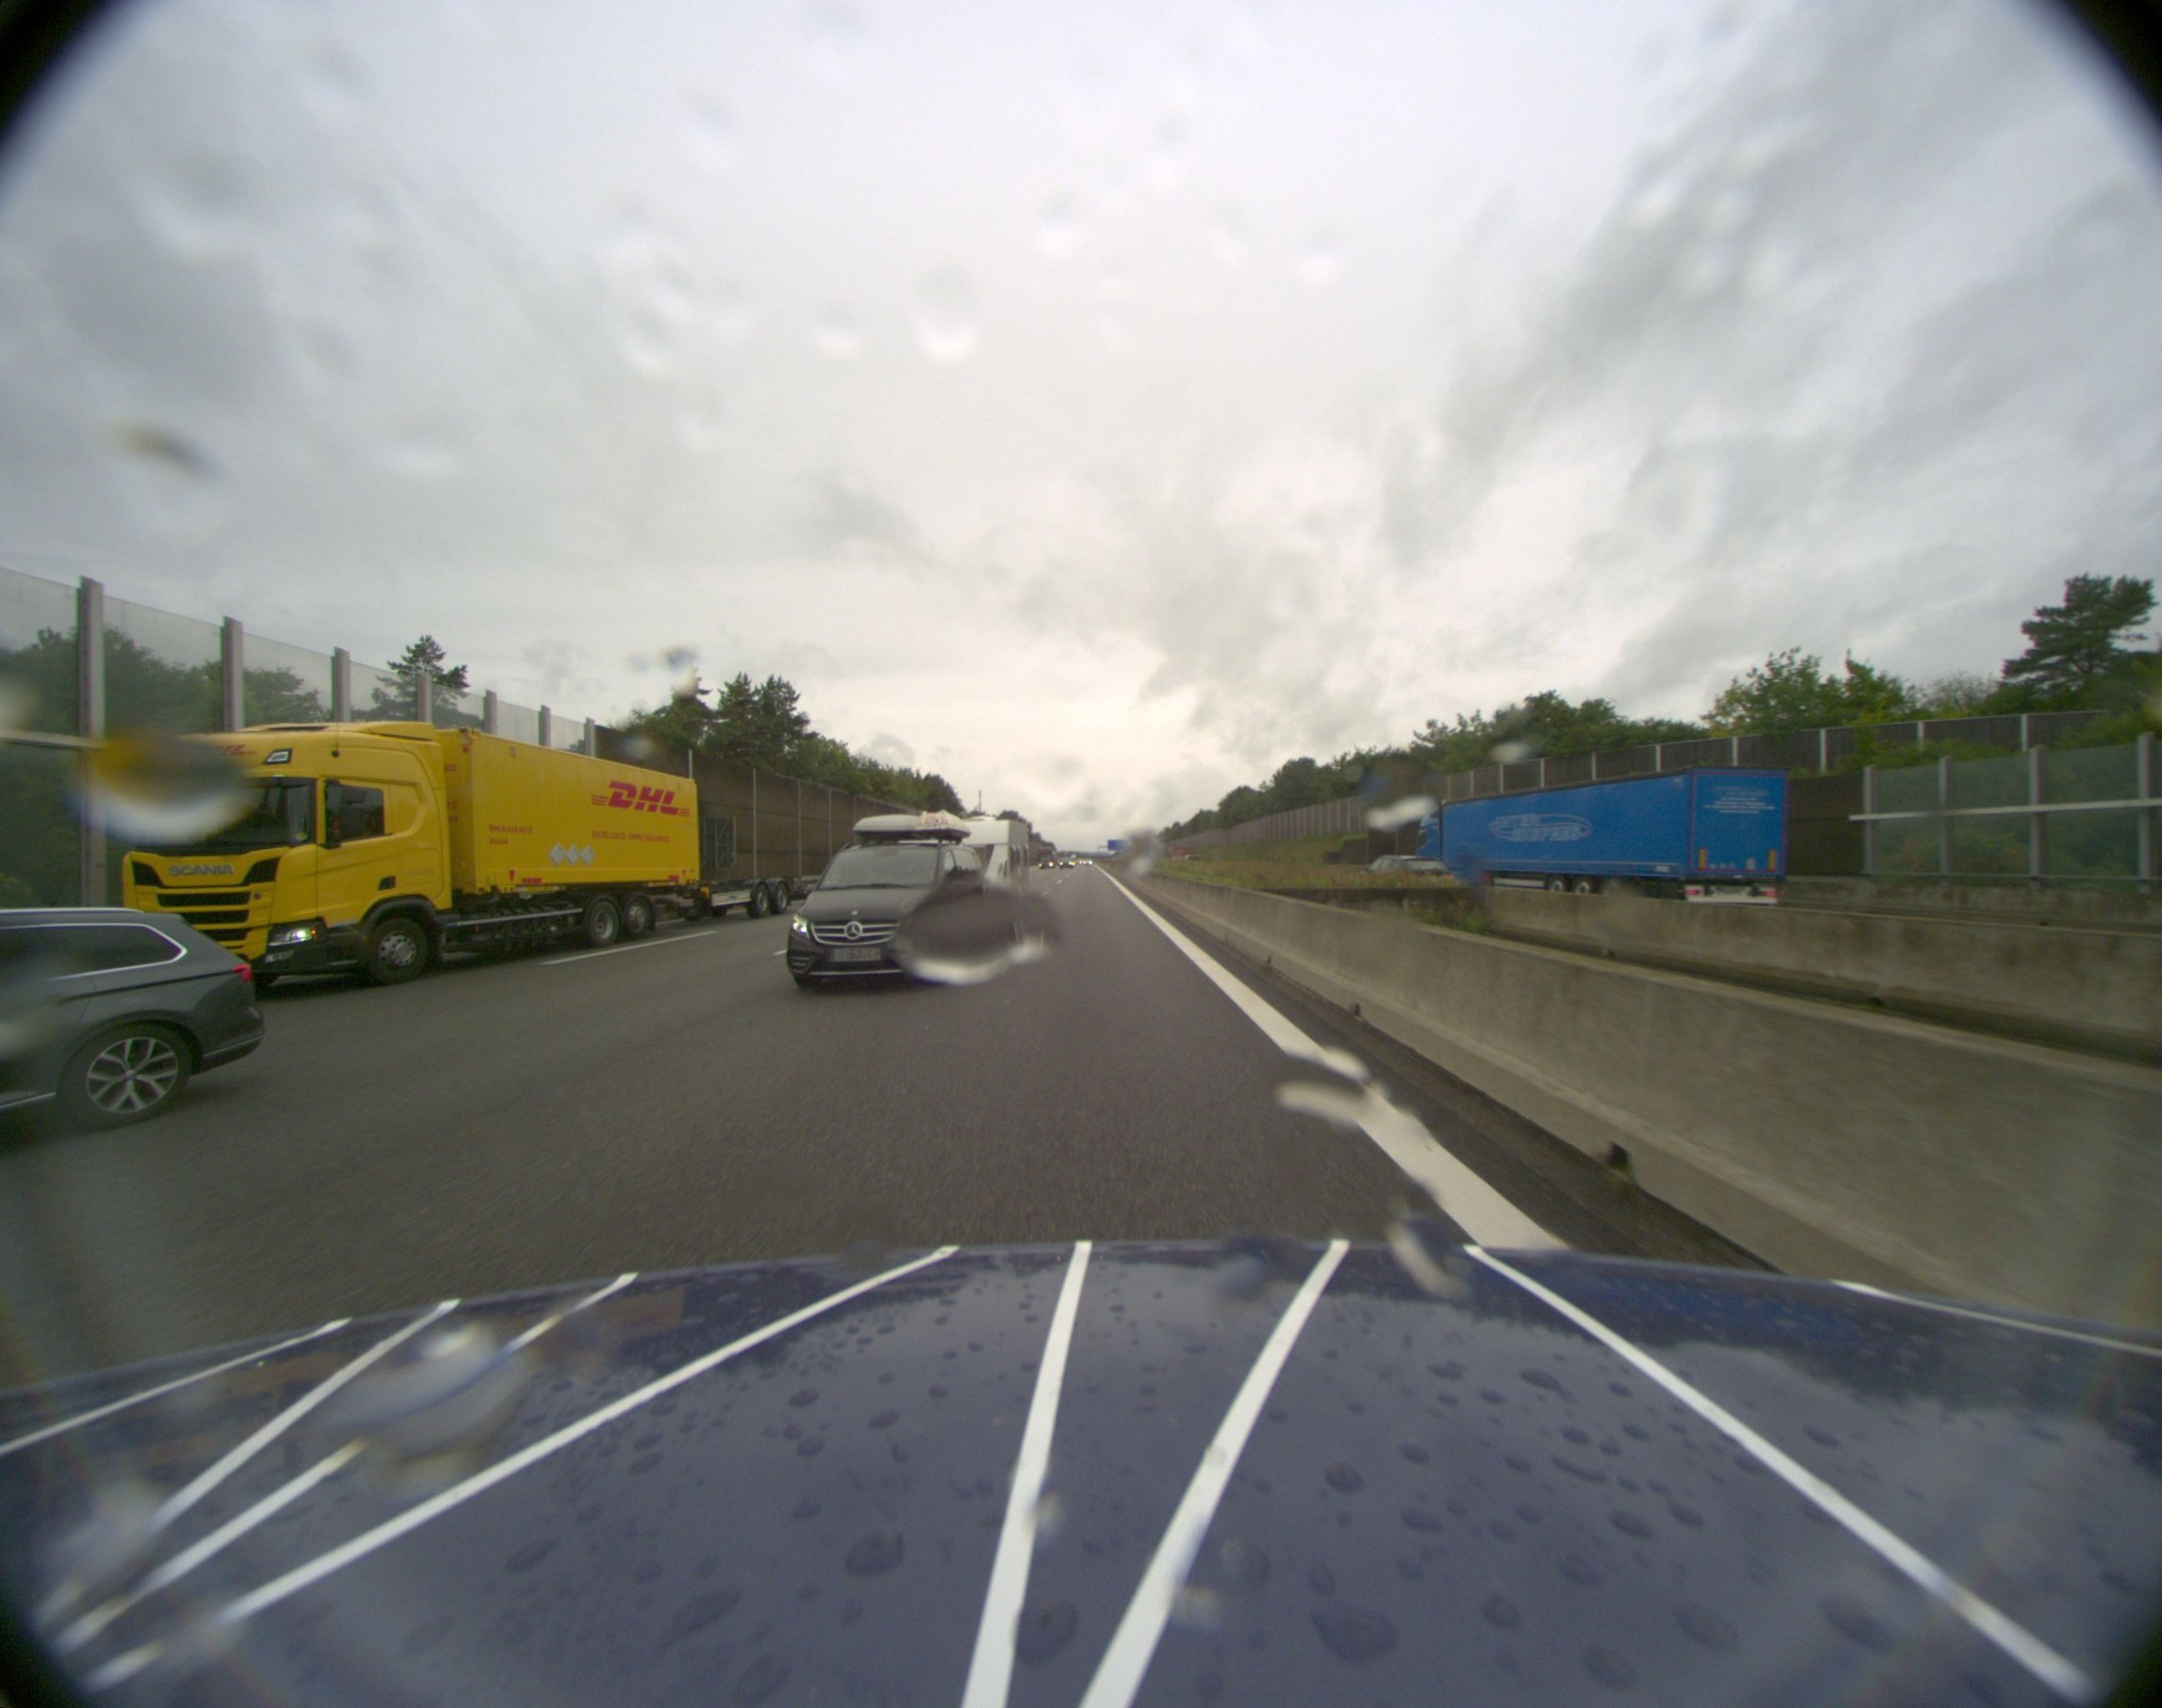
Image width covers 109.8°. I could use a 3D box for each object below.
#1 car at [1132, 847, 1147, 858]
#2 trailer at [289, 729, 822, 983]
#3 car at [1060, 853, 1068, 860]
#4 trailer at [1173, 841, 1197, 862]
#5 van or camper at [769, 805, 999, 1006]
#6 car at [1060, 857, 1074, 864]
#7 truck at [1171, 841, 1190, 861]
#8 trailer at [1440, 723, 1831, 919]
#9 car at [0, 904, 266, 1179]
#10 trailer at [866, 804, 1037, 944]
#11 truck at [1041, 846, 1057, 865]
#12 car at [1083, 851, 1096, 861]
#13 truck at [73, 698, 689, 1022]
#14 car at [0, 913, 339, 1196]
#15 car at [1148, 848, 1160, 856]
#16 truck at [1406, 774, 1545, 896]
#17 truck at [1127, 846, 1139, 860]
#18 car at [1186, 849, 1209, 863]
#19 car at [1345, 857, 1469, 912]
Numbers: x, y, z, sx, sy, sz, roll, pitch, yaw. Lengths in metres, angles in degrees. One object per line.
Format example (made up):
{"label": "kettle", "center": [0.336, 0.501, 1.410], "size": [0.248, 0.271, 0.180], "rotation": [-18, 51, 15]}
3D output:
{"label": "car", "center": [11.499, -0.277, 149.864], "size": [2.379, 2.180, 7.723], "rotation": [-1, 0, 1]}
{"label": "trailer", "center": [-11.193, 0.003, 20.435], "size": [2.658, 3.930, 16.684], "rotation": [-3, 0, 0]}
{"label": "car", "center": [-4.628, 0.592, 205.813], "size": [1.998, 1.747, 4.000], "rotation": [-1, 0, 1]}
{"label": "trailer", "center": [19.047, -0.481, 139.545], "size": [2.733, 3.662, 12.563], "rotation": [-1, 0, 1]}
{"label": "van or camper", "center": [-2.569, 0.599, 11.566], "size": [1.895, 2.256, 5.679], "rotation": [-2, 0, 1]}
{"label": "car", "center": [-2.234, 1.024, 121.717], "size": [2.061, 1.020, 3.438], "rotation": [-3, 0, 1]}
{"label": "truck", "center": [19.125, -0.500, 146.801], "size": [2.703, 3.685, 6.480], "rotation": [-3, 0, 1]}
{"label": "trailer", "center": [17.309, -0.866, 26.073], "size": [3.225, 4.857, 13.525], "rotation": [-3, 0, -1]}
{"label": "car", "center": [-6.938, 1.142, 3.414], "size": [1.667, 1.448, 4.470], "rotation": [-3, 0, 0]}
{"label": "trailer", "center": [-2.689, 0.400, 18.234], "size": [2.728, 2.627, 7.511], "rotation": [-1, 0, 0]}
{"label": "truck", "center": [-5.801, 0.279, 138.658], "size": [2.617, 3.218, 4.632], "rotation": [-1, 0, 1]}
{"label": "car", "center": [1.945, 0.439, 174.038], "size": [2.680, 2.340, 5.807], "rotation": [-1, 0, -1]}
{"label": "truck", "center": [-11.142, 0.055, 14.159], "size": [2.692, 3.935, 9.325], "rotation": [-3, 0, 0]}
{"label": "car", "center": [-6.954, 1.213, 3.414], "size": [1.944, 1.419, 5.289], "rotation": [-3, 0, 1]}
{"label": "car", "center": [20.795, -0.530, 216.506], "size": [2.833, 2.245, 4.733], "rotation": [-3, 0, 1]}
{"label": "truck", "center": [17.296, -0.789, 33.820], "size": [3.196, 4.830, 5.418], "rotation": [-3, 1, 0]}
{"label": "truck", "center": [17.002, -0.319, 249.454], "size": [3.159, 4.299, 12.679], "rotation": [-3, 0, 1]}
{"label": "car", "center": [14.132, 0.223, 92.232], "size": [1.998, 1.532, 4.770], "rotation": [-2, 0, 1]}
{"label": "car", "center": [10.149, 0.884, 24.111], "size": [1.998, 1.510, 4.820], "rotation": [-1, 0, 2]}
